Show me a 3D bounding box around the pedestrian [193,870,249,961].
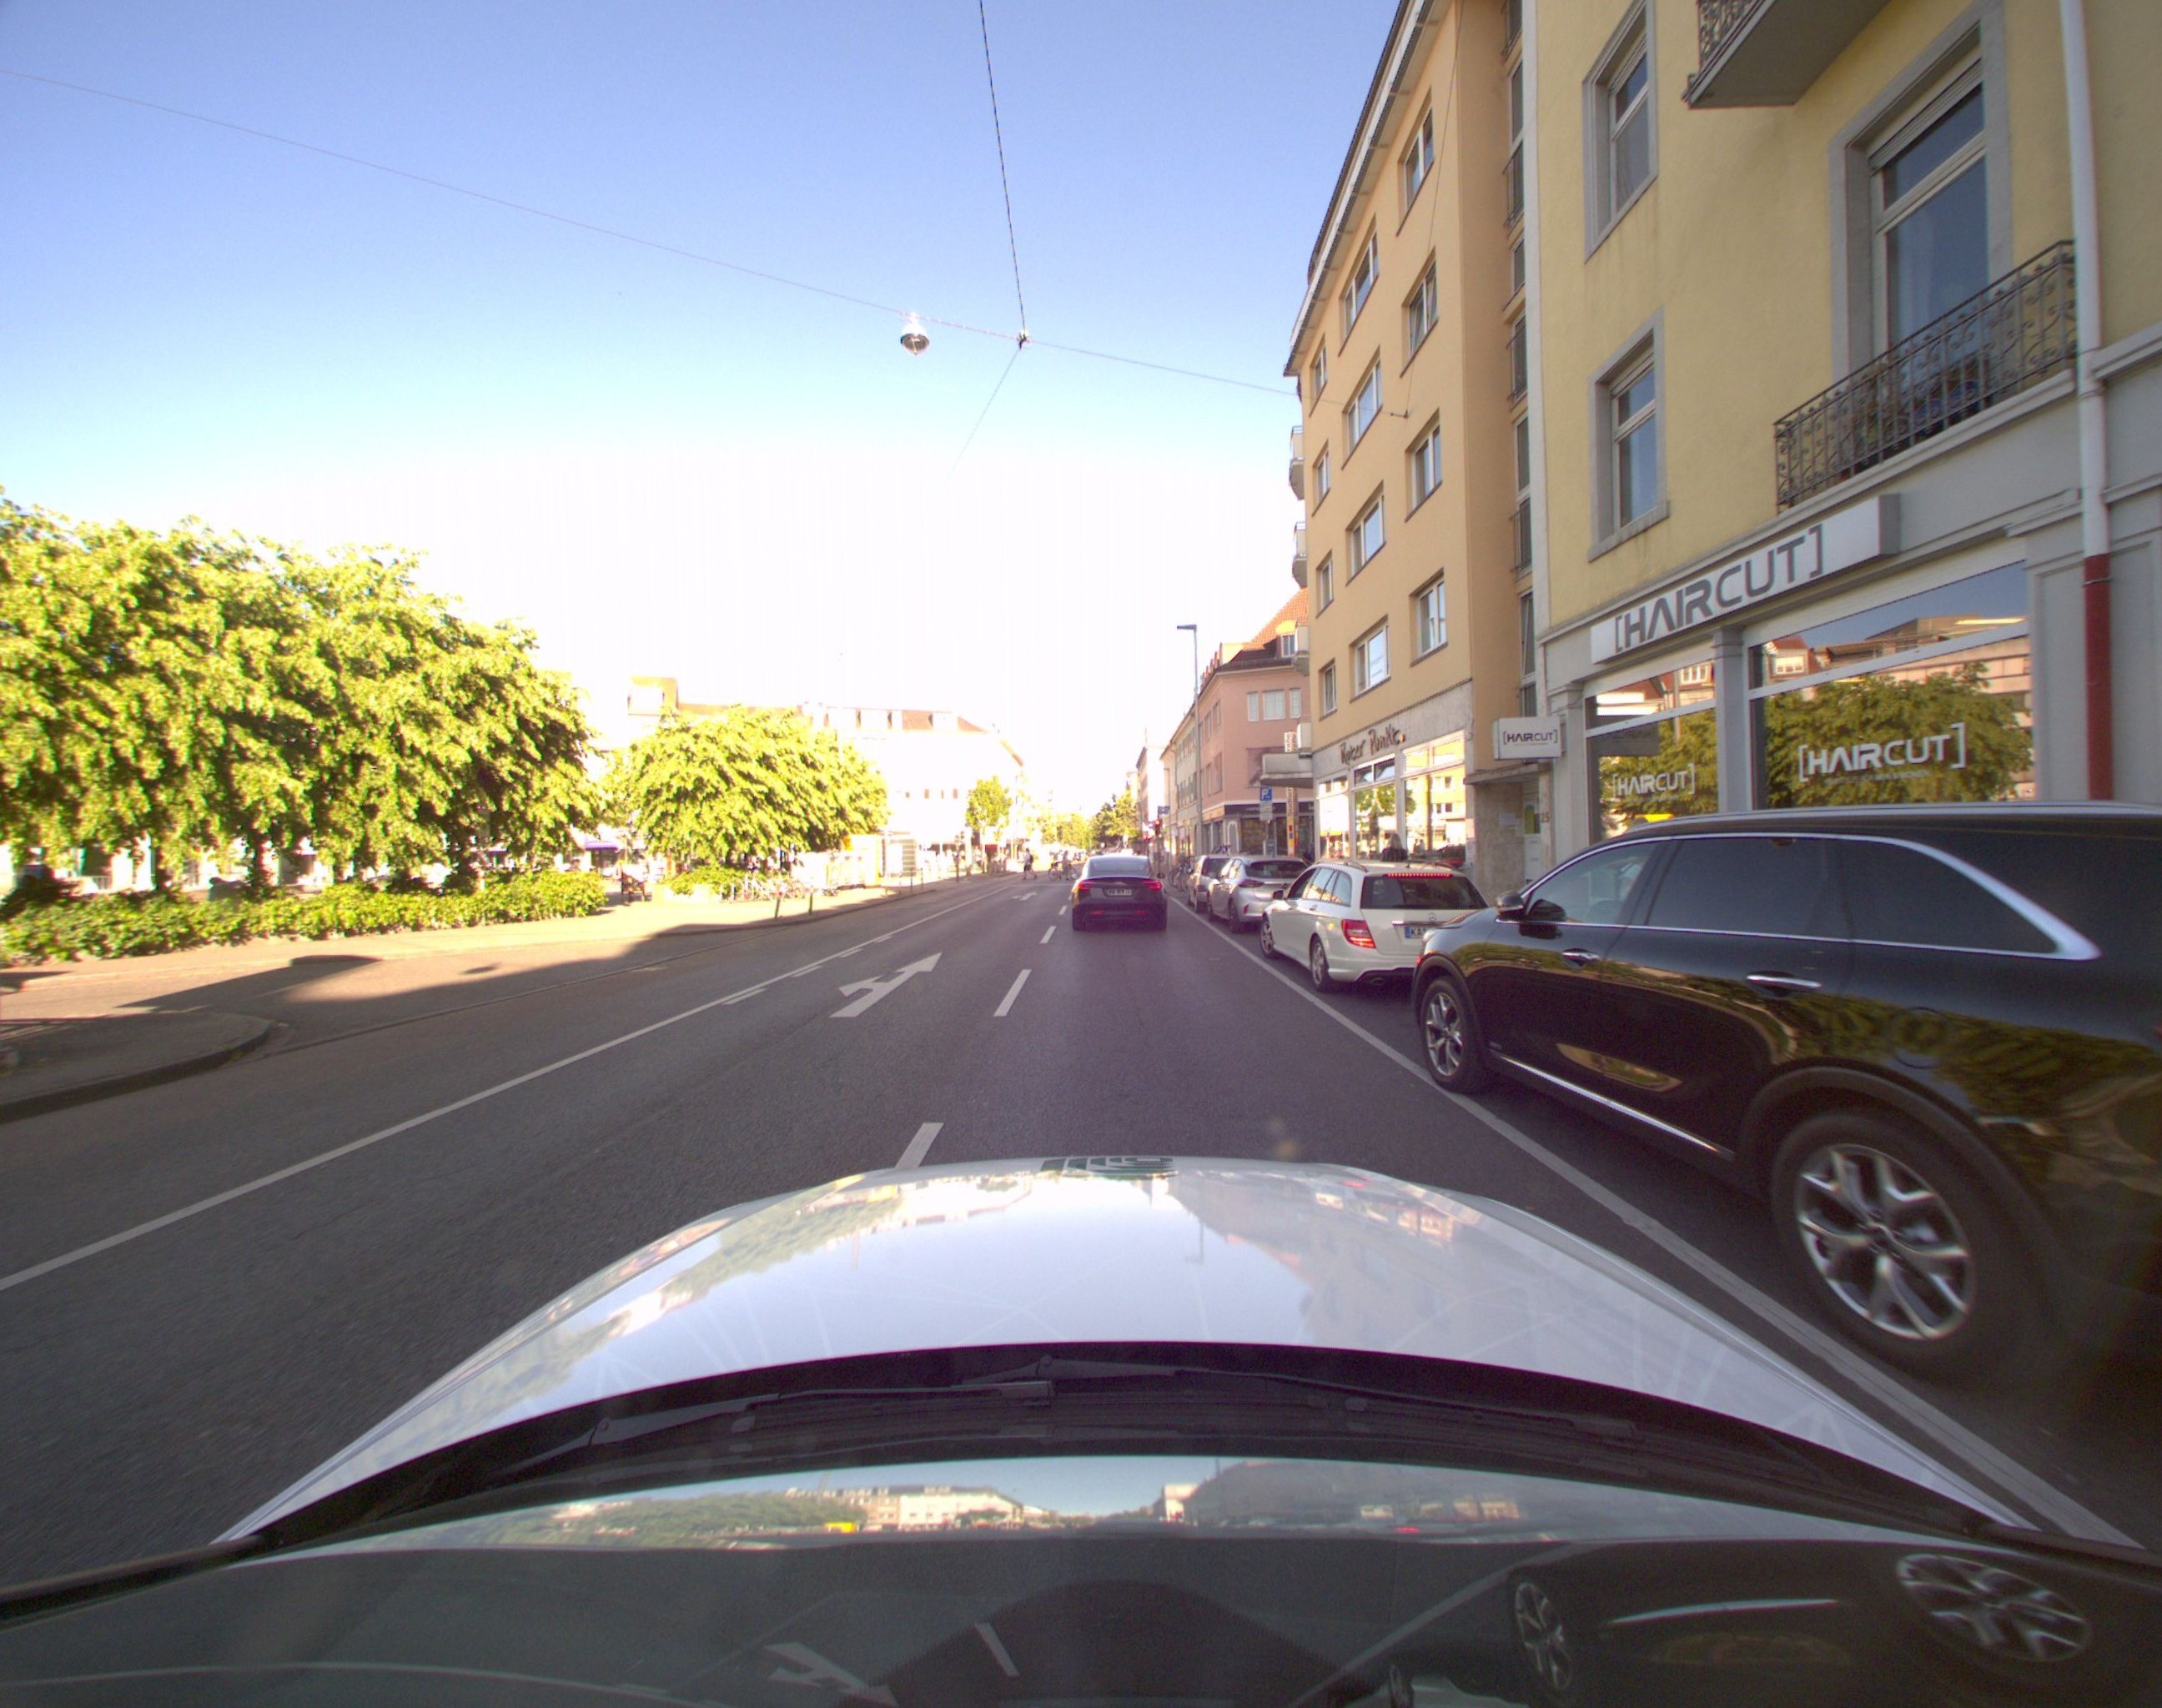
[{"bbox_3d":[-18.088,1.266,17.136,0.582,1.856,0.598,0,0,-17],"label":"pedestrian"}]

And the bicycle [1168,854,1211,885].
[{"bbox_3d":[4.284,0.613,32.279,1.621,1.160,0.433,-3,0,3],"label":"bicycle"}]

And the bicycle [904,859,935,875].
[{"bbox_3d":[-12.035,0.962,60.645,2.074,1.104,0.806,-1,0,1],"label":"bicycle"}]

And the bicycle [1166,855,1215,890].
[{"bbox_3d":[3.841,0.644,28.621,1.622,1.160,0.433,-3,0,0],"label":"bicycle"}]

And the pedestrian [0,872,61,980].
[{"bbox_3d":[-19.013,1.264,14.576,0.578,1.856,0.733,0,0,4],"label":"pedestrian"}]

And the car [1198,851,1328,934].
[{"bbox_3d":[3.501,0.673,16.380,1.665,1.427,4.076,-1,0,-1],"label":"car"}]

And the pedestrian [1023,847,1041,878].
[{"bbox_3d":[-2.803,0.475,46.409,0.896,1.725,0.745,-1,0,5],"label":"pedestrian"}]

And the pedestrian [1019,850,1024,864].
[{"bbox_3d":[-8.789,0.450,120.069,0.623,2.013,0.707,-1,0,2],"label":"pedestrian"}]

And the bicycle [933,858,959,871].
[{"bbox_3d":[-11.655,0.904,70.132,2.074,1.104,0.806,-1,0,1],"label":"bicycle"}]

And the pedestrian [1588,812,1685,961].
[{"bbox_3d":[6.387,0.363,9.390,0.694,1.633,0.532,-2,0,-1],"label":"pedestrian"}]

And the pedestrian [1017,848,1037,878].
[{"bbox_3d":[-2.988,0.492,45.437,0.981,1.636,0.738,-1,0,5],"label":"pedestrian"}]

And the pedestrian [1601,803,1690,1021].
[{"bbox_3d":[4.786,0.467,6.912,0.436,1.762,0.477,0,0,-32],"label":"pedestrian"}]

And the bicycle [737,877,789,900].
[{"bbox_3d":[-10.890,1.169,27.882,1.645,0.769,0.476,0,0,11],"label":"bicycle"}]

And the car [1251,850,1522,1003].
[{"bbox_3d":[3.399,0.689,10.051,1.732,1.447,4.465,-1,0,1],"label":"car"}]

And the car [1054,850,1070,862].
[{"bbox_3d":[-2.663,0.256,115.678,1.986,1.541,4.002,-4,0,2],"label":"car"}]

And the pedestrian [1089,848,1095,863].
[{"bbox_3d":[1.574,0.175,112.031,0.620,2.013,0.562,-1,0,26],"label":"pedestrian"}]

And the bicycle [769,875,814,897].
[{"bbox_3d":[-10.610,1.177,29.826,1.466,0.769,0.475,0,0,4],"label":"bicycle"}]

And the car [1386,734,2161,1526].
[{"bbox_3d":[3.183,0.590,3.721,1.750,1.736,4.569,-1,0,-2],"label":"car"}]

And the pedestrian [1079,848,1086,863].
[{"bbox_3d":[0.163,0.191,113.565,0.754,2.013,0.792,-1,0,-24],"label":"pedestrian"}]

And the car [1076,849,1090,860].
[{"bbox_3d":[0.327,0.035,126.797,2.044,1.727,4.652,-1,0,-1],"label":"car"}]

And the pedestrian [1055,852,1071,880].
[{"bbox_3d":[-0.918,0.602,42.317,0.739,1.440,0.584,0,0,9],"label":"pedestrian"}]

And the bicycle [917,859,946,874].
[{"bbox_3d":[-11.604,0.939,63.155,2.074,1.104,0.806,-1,0,1],"label":"bicycle"}]

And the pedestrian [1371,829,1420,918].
[{"bbox_3d":[6.033,0.370,15.652,0.659,1.633,0.629,-3,-1,6],"label":"pedestrian"}]

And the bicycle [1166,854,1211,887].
[{"bbox_3d":[4.083,0.632,31.081,1.622,1.160,0.433,-3,0,0],"label":"bicycle"}]

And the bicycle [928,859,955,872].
[{"bbox_3d":[-11.625,0.948,67.935,2.074,1.104,0.806,-1,0,1],"label":"bicycle"}]

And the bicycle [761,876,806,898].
[{"bbox_3d":[-10.684,1.185,29.267,1.465,0.769,0.442,0,0,6],"label":"bicycle"}]

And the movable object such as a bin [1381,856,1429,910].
[{"bbox_3d":[6.834,0.610,17.192,0.700,1.067,0.620,-4,0,1],"label":"movable object such as a bin"}]

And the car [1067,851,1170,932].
[{"bbox_3d":[0.778,0.676,16.653,1.842,1.455,3.789,-1,0,3],"label":"car"}]

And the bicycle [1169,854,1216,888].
[{"bbox_3d":[4.093,0.614,30.020,1.622,1.160,0.433,-3,0,0],"label":"bicycle"}]

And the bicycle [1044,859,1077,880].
[{"bbox_3d":[-1.042,0.802,41.833,1.605,1.045,0.592,0,0,10],"label":"bicycle"}]

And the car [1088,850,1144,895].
[{"bbox_3d":[1.270,0.607,28.872,1.842,1.455,3.789,-1,0,3],"label":"car"}]

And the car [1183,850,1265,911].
[{"bbox_3d":[3.586,0.617,21.018,1.615,1.394,3.889,-1,0,3],"label":"car"}]

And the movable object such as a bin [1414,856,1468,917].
[{"bbox_3d":[6.816,0.605,15.428,0.700,1.067,0.620,-4,0,1],"label":"movable object such as a bin"}]
